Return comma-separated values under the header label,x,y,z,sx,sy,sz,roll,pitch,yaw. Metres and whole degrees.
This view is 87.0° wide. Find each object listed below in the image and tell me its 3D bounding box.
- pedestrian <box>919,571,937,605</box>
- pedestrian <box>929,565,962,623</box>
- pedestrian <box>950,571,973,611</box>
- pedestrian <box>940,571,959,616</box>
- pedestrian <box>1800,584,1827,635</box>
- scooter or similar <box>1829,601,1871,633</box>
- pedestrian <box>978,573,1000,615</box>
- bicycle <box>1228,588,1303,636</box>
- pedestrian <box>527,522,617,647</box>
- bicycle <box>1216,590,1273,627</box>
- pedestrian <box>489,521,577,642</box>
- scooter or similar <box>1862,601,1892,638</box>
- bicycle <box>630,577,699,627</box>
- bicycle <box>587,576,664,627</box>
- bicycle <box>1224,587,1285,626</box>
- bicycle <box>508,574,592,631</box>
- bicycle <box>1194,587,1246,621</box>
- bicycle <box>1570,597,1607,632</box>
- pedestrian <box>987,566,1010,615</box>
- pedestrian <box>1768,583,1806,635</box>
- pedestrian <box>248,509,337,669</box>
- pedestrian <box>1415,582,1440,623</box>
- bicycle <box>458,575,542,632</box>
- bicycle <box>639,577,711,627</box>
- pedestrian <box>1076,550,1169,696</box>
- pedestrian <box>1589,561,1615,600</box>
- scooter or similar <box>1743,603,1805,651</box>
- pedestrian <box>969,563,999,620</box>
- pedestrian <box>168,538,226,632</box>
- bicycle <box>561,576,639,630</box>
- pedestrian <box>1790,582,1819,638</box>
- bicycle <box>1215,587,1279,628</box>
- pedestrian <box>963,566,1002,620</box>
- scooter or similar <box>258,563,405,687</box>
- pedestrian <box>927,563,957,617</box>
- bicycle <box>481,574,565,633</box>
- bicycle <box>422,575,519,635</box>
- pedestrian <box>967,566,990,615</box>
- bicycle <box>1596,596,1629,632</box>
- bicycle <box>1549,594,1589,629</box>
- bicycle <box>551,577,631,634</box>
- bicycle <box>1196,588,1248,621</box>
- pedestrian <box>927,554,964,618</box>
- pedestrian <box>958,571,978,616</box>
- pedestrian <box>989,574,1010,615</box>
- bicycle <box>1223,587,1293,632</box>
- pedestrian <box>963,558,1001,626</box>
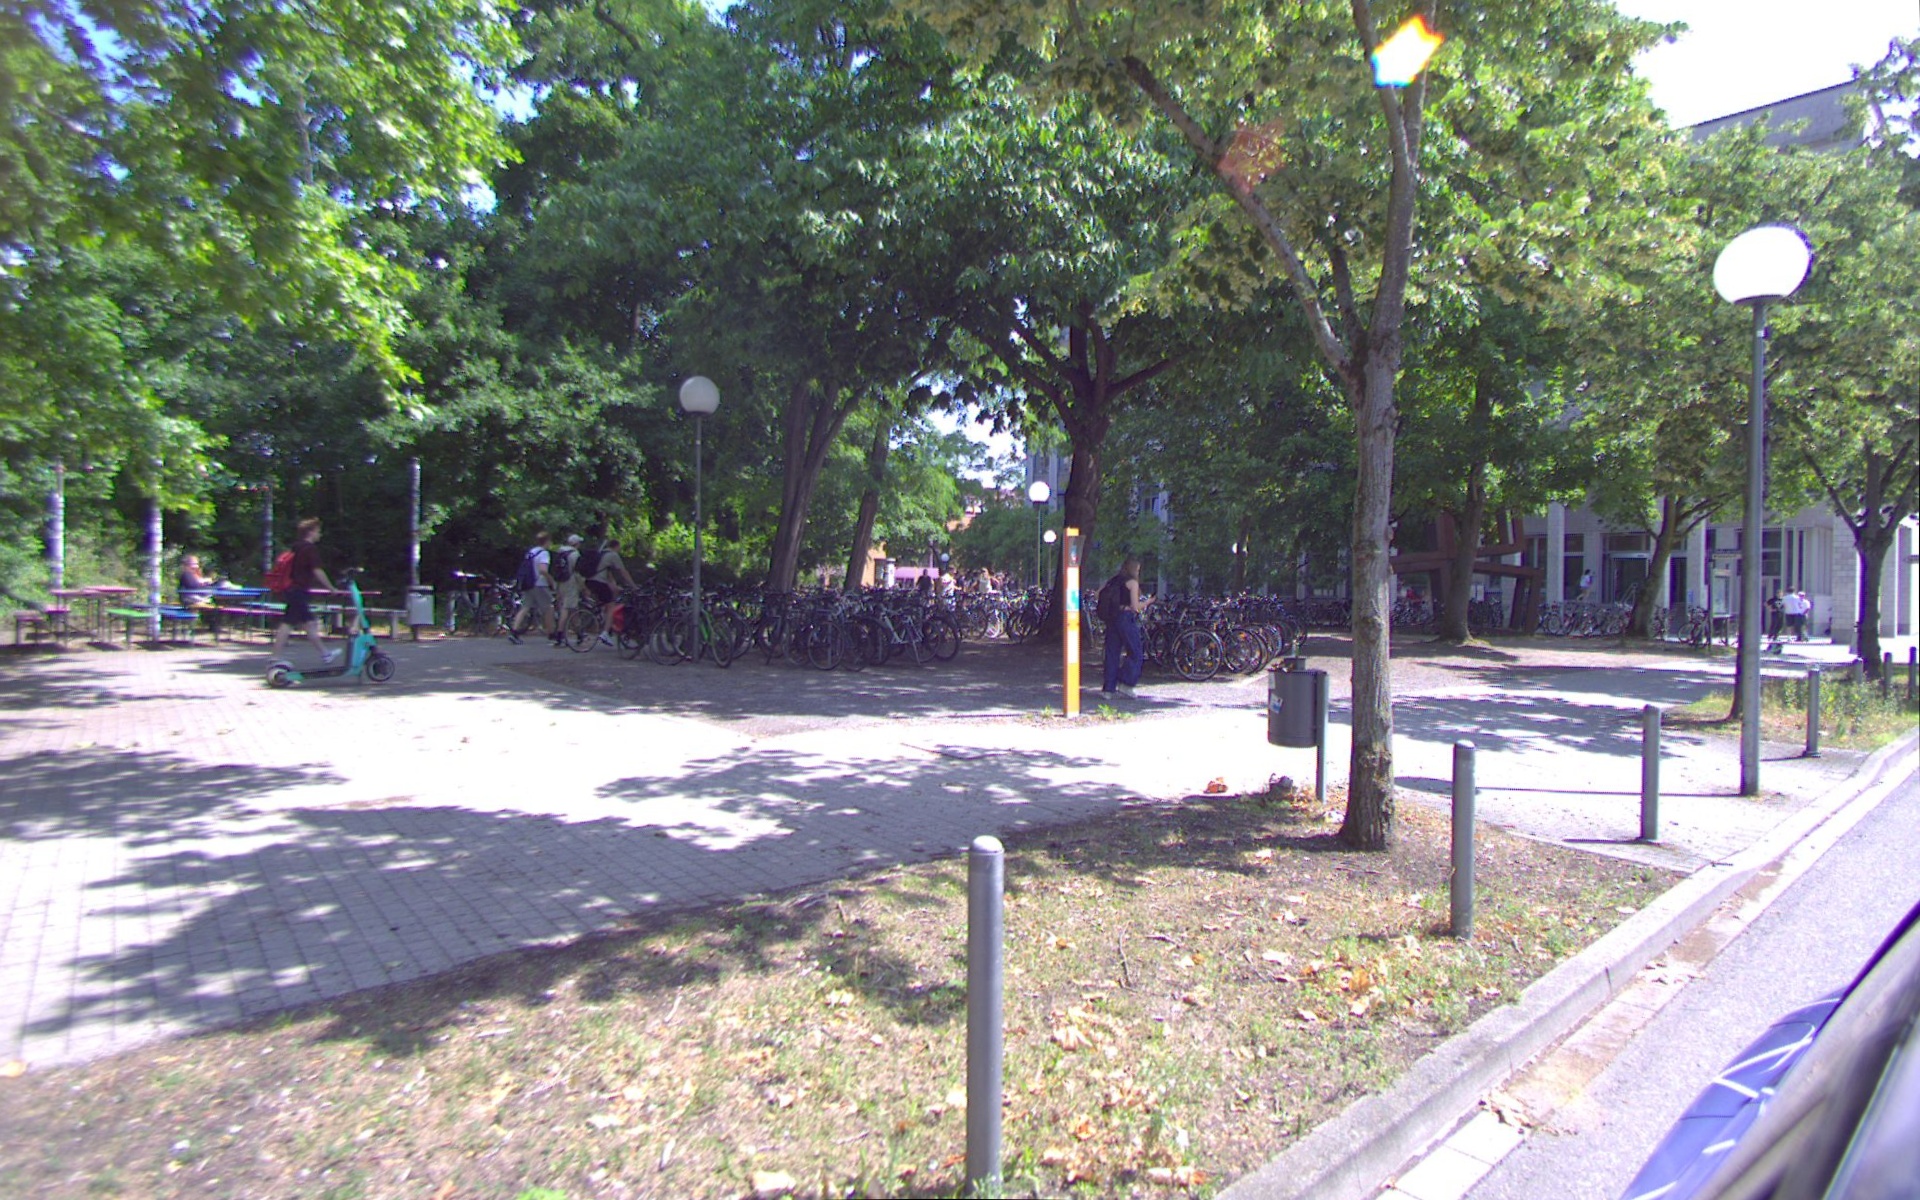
label,x,y,z,sx,sy,sz,roll,pitch,yaw
pedestrian,-1.527,-0.575,48.281,0.679,1.530,0.514,3,2,6
pedestrian,-0.454,-0.195,32.128,0.742,1.797,0.710,2,0,41
pedestrian,0.080,-0.399,46.558,0.824,1.797,0.994,2,0,-11
pedestrian,-0.441,-0.269,41.695,0.730,1.797,0.721,2,0,-3
pedestrian,29.850,0.317,35.390,0.533,1.751,0.613,0,1,-40
scooter or similar,36.773,0.702,41.828,0.555,1.226,1.507,0,2,9
pedestrian,1.288,-0.274,44.879,0.729,1.797,0.722,2,0,-15
bicycle,7.901,0.297,26.219,1.819,1.185,0.344,2,0,16
pedestrian,-6.415,-0.268,16.747,0.828,1.973,1.068,3,2,29
bicycle,9.655,0.272,34.379,1.816,1.185,0.412,2,0,11
pedestrian,-7.260,-0.325,17.237,0.828,1.973,1.068,3,2,29
scooter or similar,32.163,0.677,35.496,1.485,1.226,0.564,0,3,-42
bicycle,-6.648,0.034,22.710,1.737,1.052,0.344,2,1,29
bicycle,-7.308,0.018,22.112,1.816,1.052,0.474,2,2,29
bicycle,9.424,0.201,32.398,1.816,1.185,0.387,2,0,11
bicycle,-8.250,0.030,20.329,1.944,1.052,0.473,3,2,31
bicycle,9.739,0.147,37.921,1.812,1.185,0.345,1,0,5
bicycle,20.937,0.481,33.717,1.486,1.099,0.482,3,1,-36
pedestrian,1.447,-0.361,37.858,0.732,1.797,0.719,2,0,9
pedestrian,29.357,0.310,35.921,0.796,1.819,0.619,1,1,6
pedestrian,-8.192,-0.145,12.417,0.809,1.878,0.767,0,1,-41
pedestrian,20.706,0.107,44.839,0.930,1.762,0.741,0,0,30
bicycle,-8.788,0.054,19.308,1.944,0.991,0.434,3,2,31
bicycle,-6.485,0.030,23.027,1.737,1.052,0.474,2,2,29
pedestrian,1.857,0.234,11.568,0.911,1.590,0.569,-1,2,-40
pedestrian,29.907,-0.898,47.160,0.793,1.819,0.621,1,1,-9
scooter or similar,20.293,0.668,25.225,1.333,1.128,0.498,2,0,-16
pedestrian,0.776,-0.272,32.485,0.735,1.797,0.717,2,0,18
pedestrian,-13.530,-0.261,17.948,0.667,1.601,0.707,5,3,45
bicycle,-7.569,0.040,21.273,1.768,1.052,0.474,2,2,29
pedestrian,29.049,0.337,34.820,0.675,1.914,0.685,-1,1,-44
bicycle,8.728,0.217,30.798,1.817,1.185,0.352,2,0,13
pedestrian,0.773,-0.235,34.515,0.954,1.797,0.963,2,0,27
scooter or similar,-6.573,0.237,10.615,1.271,1.234,0.425,0,1,-41
pedestrian,-0.616,-0.346,34.782,0.737,1.797,0.715,2,0,24
bicycle,-8.482,0.059,19.630,1.944,1.052,0.430,3,2,31
bicycle,-8.899,0.067,18.362,1.944,0.991,0.606,3,2,31
pedestrian,0.692,-0.372,37.998,0.732,1.797,0.719,2,0,9
bicycle,21.329,0.461,33.067,1.447,1.099,0.460,3,1,-40
bicycle,20.411,0.396,33.906,1.664,1.099,0.482,3,1,-36
bicycle,-7.402,0.094,20.271,1.768,1.052,0.430,2,2,29
bicycle,9.898,0.156,38.257,1.812,1.185,0.345,1,0,5
pedestrian,-0.408,-0.410,28.959,0.742,1.797,0.710,2,0,41
pedestrian,0.339,-0.274,41.734,0.730,1.797,0.721,2,0,-3
pedestrian,1.797,-0.246,46.101,0.838,1.797,0.813,2,0,-4
bicycle,8.209,0.250,27.915,1.817,1.185,0.344,2,0,13
pedestrian,0.584,-0.211,27.428,0.706,1.797,0.746,2,0,-28
